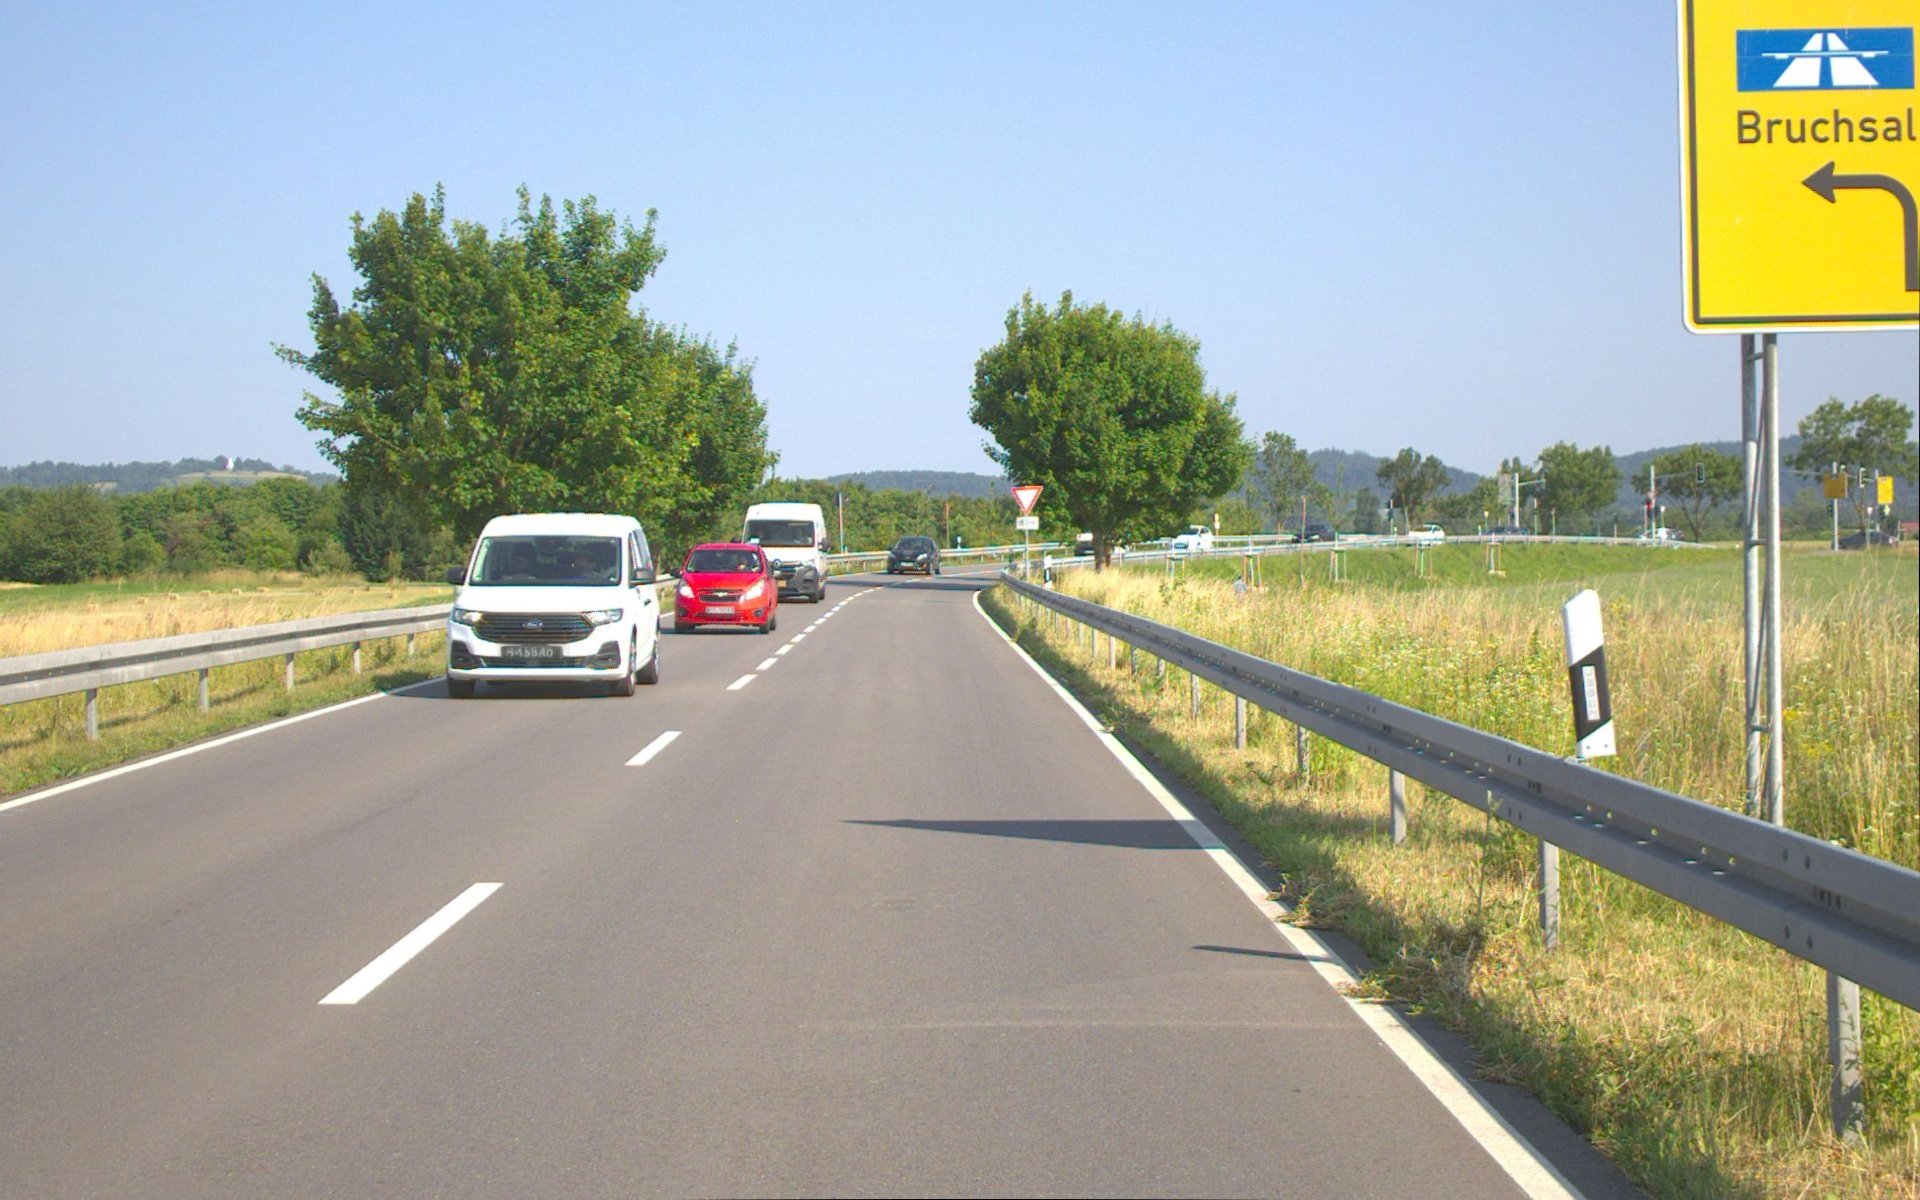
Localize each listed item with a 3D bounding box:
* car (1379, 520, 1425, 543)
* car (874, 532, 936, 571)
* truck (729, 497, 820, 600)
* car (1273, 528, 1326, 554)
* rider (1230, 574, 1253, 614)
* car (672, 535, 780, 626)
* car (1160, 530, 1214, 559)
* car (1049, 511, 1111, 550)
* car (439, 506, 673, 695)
[{"bbox_3d":[29.913,-4.607,232.692,1.996,1.527,4.586,1,1,22],"label":"car"},{"bbox_3d":[-2.099,-1.875,132.066,1.645,1.466,3.805,1,1,11],"label":"car"},{"bbox_3d":[-4.642,-1.305,86.789,1.993,2.511,6.244,0,1,-1],"label":"truck"},{"bbox_3d":[20.496,-3.544,207.428,1.996,1.527,4.586,1,1,22],"label":"car"},{"bbox_3d":[10.723,-0.236,130.828,0.609,1.522,1.825,1,0,12],"label":"rider"},{"bbox_3d":[-3.939,-0.357,58.275,1.606,1.483,3.780,0,1,-1],"label":"car"},{"bbox_3d":[12.309,-3.020,186.525,1.904,1.527,4.588,1,1,17],"label":"car"},{"bbox_3d":[5.960,-3.409,169.974,1.995,1.878,4.588,1,1,16],"label":"car"},{"bbox_3d":[-4.006,-0.043,34.740,1.836,1.780,4.435,0,1,0],"label":"car"}]
